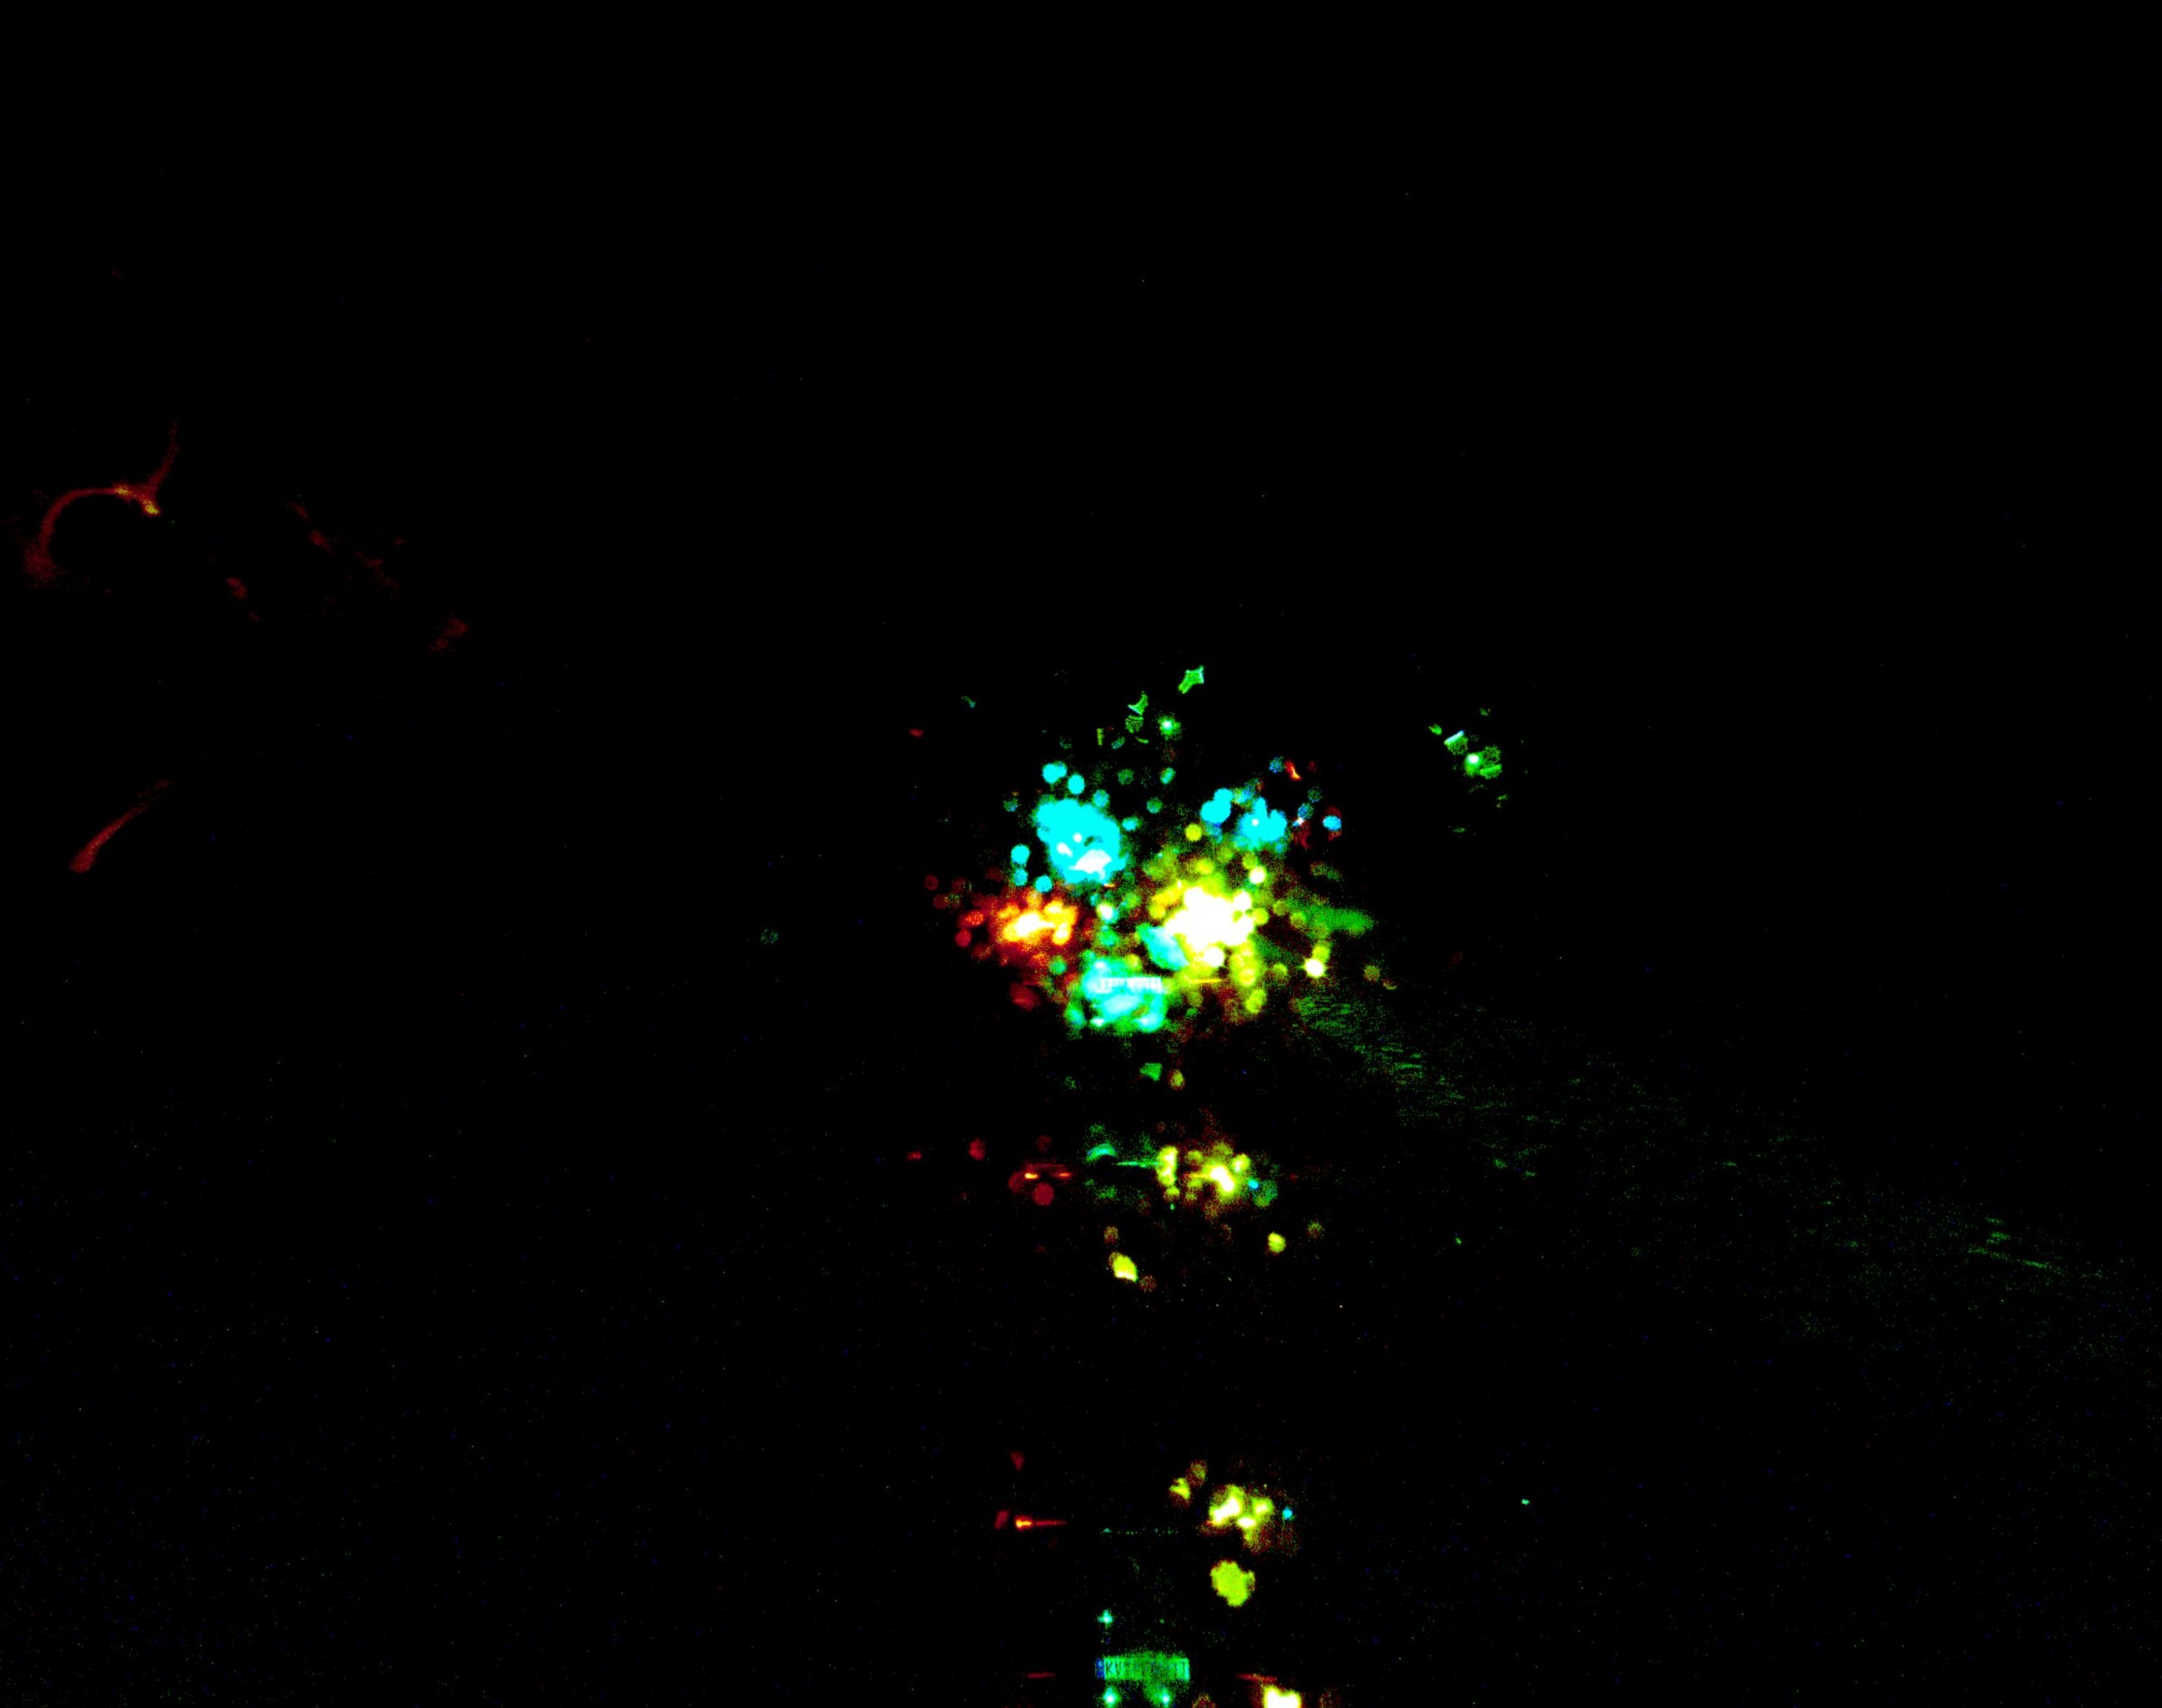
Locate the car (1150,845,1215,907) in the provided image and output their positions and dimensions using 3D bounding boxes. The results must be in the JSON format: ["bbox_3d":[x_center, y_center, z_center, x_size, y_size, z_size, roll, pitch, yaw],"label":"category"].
[{"bbox_3d":[3.667,0.788,28.680,1.759,1.947,4.269,2,-2,13],"label":"car"}]

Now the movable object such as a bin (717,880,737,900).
[{"bbox_3d":[-25.063,2.533,57.677,1.234,1.325,1.144,-2,0,-23],"label":"movable object such as a bin"}]

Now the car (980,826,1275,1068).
[{"bbox_3d":[0.390,0.660,7.750,2.050,1.678,4.141,0,0,2],"label":"car"}]

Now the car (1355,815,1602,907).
[{"bbox_3d":[8.464,0.146,17.768,4.437,1.586,1.946,-4,0,13],"label":"car"}]

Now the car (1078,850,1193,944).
[{"bbox_3d":[1.043,0.749,16.374,1.902,1.510,4.243,-4,0,2],"label":"car"}]
